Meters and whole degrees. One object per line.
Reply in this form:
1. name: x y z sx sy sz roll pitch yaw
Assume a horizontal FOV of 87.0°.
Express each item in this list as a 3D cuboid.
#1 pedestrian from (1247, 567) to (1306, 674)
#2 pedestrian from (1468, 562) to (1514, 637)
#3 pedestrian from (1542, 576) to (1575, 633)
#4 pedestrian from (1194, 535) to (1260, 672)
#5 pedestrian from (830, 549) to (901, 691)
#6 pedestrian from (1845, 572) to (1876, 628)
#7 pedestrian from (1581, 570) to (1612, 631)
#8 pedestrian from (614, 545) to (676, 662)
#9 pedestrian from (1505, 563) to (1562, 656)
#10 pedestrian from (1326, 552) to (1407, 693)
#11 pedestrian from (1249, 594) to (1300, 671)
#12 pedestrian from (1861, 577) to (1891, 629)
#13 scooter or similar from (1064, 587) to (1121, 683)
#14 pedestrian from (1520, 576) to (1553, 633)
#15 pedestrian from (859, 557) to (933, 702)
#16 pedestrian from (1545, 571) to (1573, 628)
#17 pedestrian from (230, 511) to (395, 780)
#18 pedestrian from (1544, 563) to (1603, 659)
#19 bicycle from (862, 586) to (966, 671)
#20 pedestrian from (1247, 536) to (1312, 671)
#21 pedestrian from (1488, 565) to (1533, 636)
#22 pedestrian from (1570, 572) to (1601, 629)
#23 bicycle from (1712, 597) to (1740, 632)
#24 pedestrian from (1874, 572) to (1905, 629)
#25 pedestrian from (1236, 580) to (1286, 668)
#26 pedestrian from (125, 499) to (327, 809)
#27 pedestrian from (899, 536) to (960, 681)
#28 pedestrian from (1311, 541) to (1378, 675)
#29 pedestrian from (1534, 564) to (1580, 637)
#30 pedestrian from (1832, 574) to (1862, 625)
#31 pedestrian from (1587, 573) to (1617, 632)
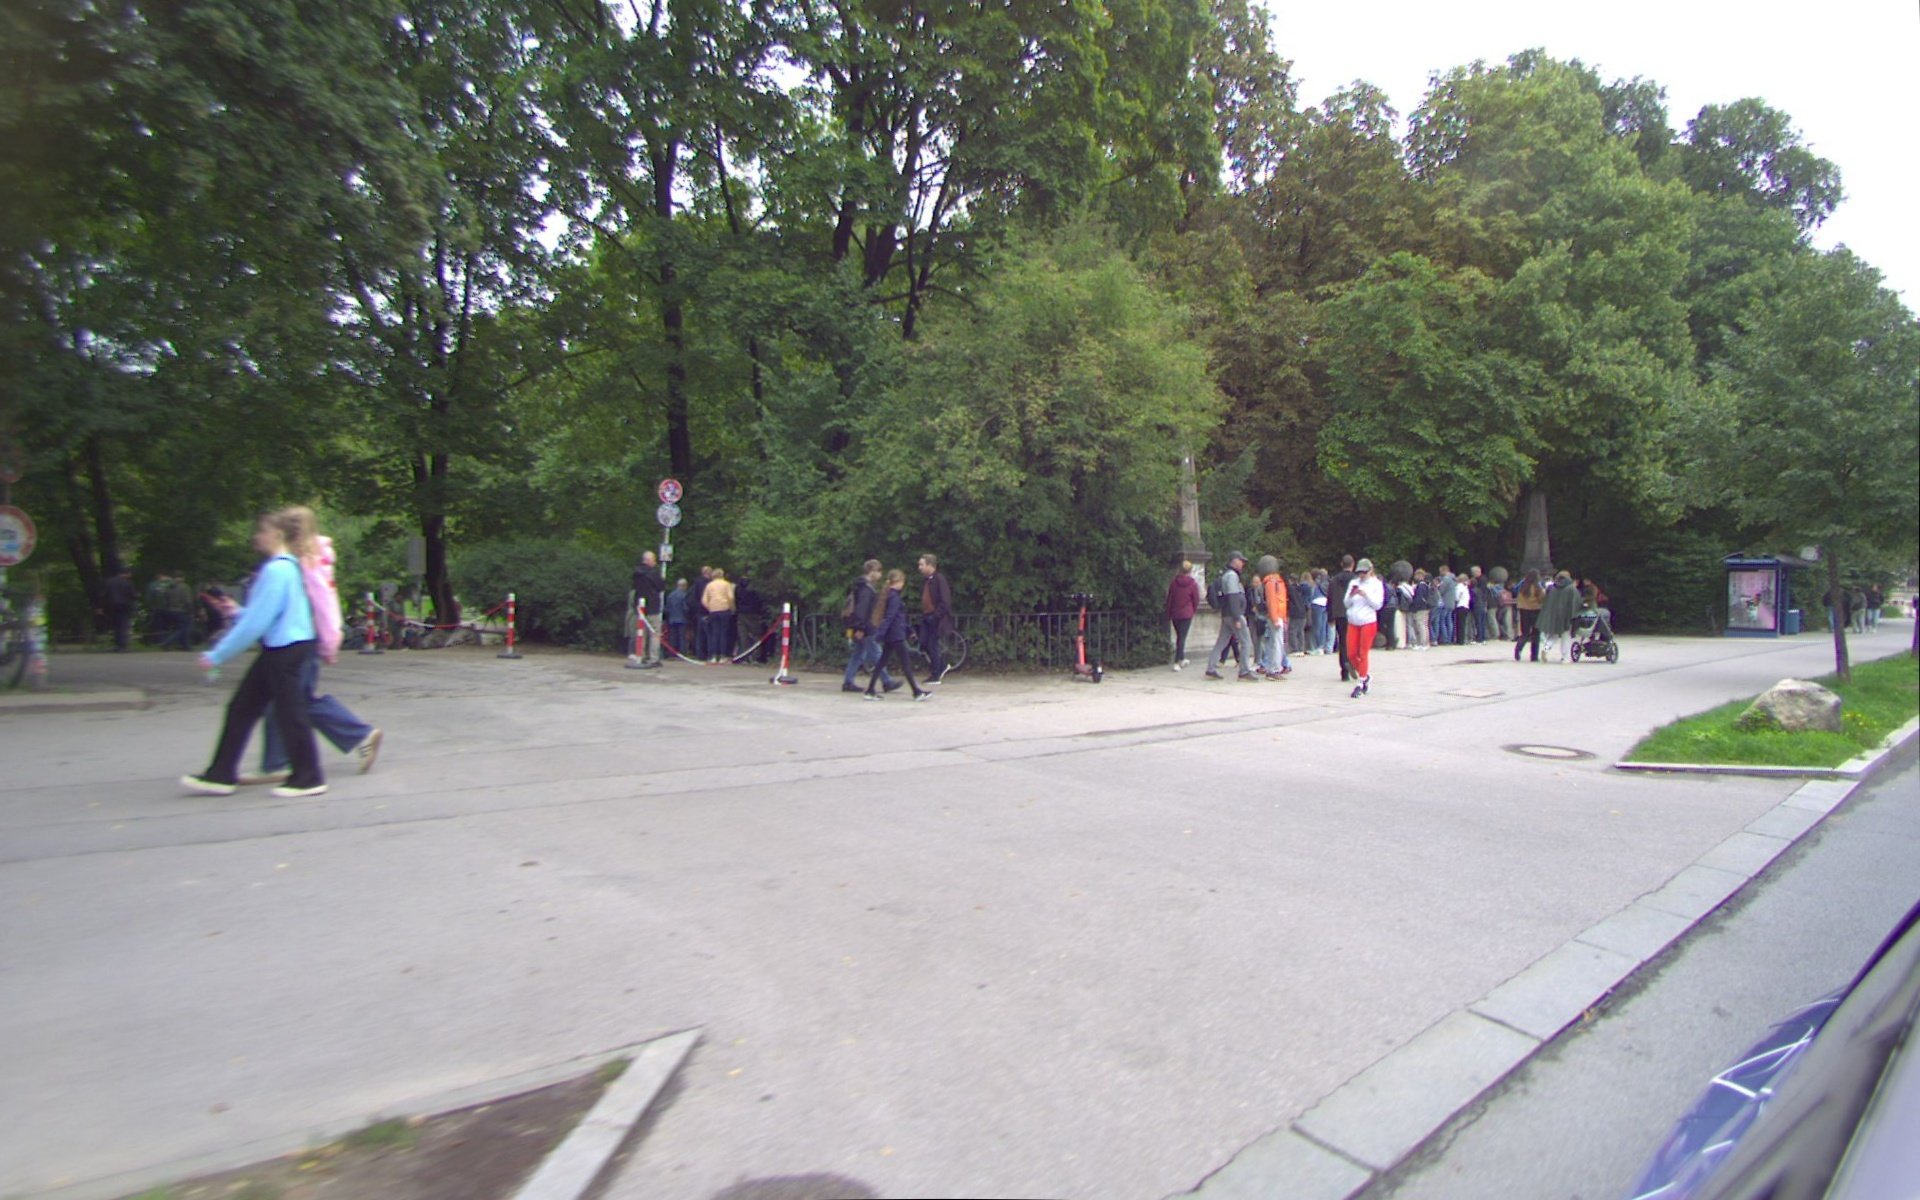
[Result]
1. pedestrian: 4.678 0.292 14.957 0.636 1.547 0.551 0 0 -36
2. pedestrian: 13.528 -0.019 25.783 0.715 1.875 0.814 0 0 -38
3. pedestrian: 16.434 0.116 27.784 0.523 1.526 0.638 0 0 -38
4. pedestrian: 3.830 0.044 14.517 0.678 1.896 0.612 0 0 -24
5. pedestrian: -1.145 0.233 12.299 0.683 1.672 0.608 0 0 17
6. pedestrian: 31.993 -0.011 35.957 0.940 1.939 0.709 0 0 -41
7. pedestrian: 19.020 0.001 30.246 0.523 1.790 0.638 0 0 -38
8. pedestrian: -4.712 0.046 15.164 0.683 1.717 0.608 0 0 15
9. pedestrian: 10.862 0.172 19.177 0.636 1.712 0.728 0 0 -36
10. pedestrian: 5.134 0.265 12.787 0.636 1.712 0.728 0 0 -35
11. pedestrian: 4.886 0.496 15.730 0.636 1.167 0.459 0 0 -36
12. pedestrian: 32.376 0.099 35.766 0.628 1.831 0.709 0 0 -41
13. scooter or similar: 1.836 0.454 14.176 0.341 1.272 1.570 0 0 -10
14. pedestrian: 15.777 0.118 27.711 0.523 1.526 0.638 0 0 -38
15. pedestrian: -0.719 0.321 11.490 0.683 1.597 0.608 0 0 15
16. pedestrian: 19.024 -0.015 32.143 0.523 1.790 0.638 0 0 -38
17. pedestrian: -4.289 0.275 6.770 0.832 1.664 0.758 0 0 -25
18. pedestrian: 11.190 0.190 18.477 0.636 1.712 0.728 0 0 -36
19. bicycle: -0.716 0.421 15.475 1.581 1.255 0.389 0 0 23
20. pedestrian: 4.715 0.043 14.959 0.678 1.938 0.612 0 0 -24
21. pedestrian: 14.197 -0.003 26.100 0.715 1.790 0.814 0 0 -38
22. pedestrian: 18.435 0.007 29.836 0.523 1.647 0.638 0 0 -38
23. bicycle: 24.038 0.447 31.748 1.549 1.073 0.393 0 0 -41
24. pedestrian: 32.513 0.010 35.402 0.940 1.939 0.709 0 0 -41
25. pedestrian: 4.709 0.356 15.828 0.636 1.343 0.459 0 0 -36
26. pedestrian: -4.267 0.282 5.953 0.832 1.664 0.758 0 0 -25
27. pedestrian: -0.401 0.108 13.597 0.683 1.896 0.608 0 0 15
28. pedestrian: 5.588 0.112 14.733 0.678 1.896 0.612 0 0 -24
29. pedestrian: 15.354 0.008 26.025 0.715 1.852 0.814 0 0 -38
30. pedestrian: 32.233 -0.018 36.779 0.933 1.831 0.709 0 0 -41
31. pedestrian: 19.640 0.062 30.980 0.523 1.790 0.638 0 0 -38
